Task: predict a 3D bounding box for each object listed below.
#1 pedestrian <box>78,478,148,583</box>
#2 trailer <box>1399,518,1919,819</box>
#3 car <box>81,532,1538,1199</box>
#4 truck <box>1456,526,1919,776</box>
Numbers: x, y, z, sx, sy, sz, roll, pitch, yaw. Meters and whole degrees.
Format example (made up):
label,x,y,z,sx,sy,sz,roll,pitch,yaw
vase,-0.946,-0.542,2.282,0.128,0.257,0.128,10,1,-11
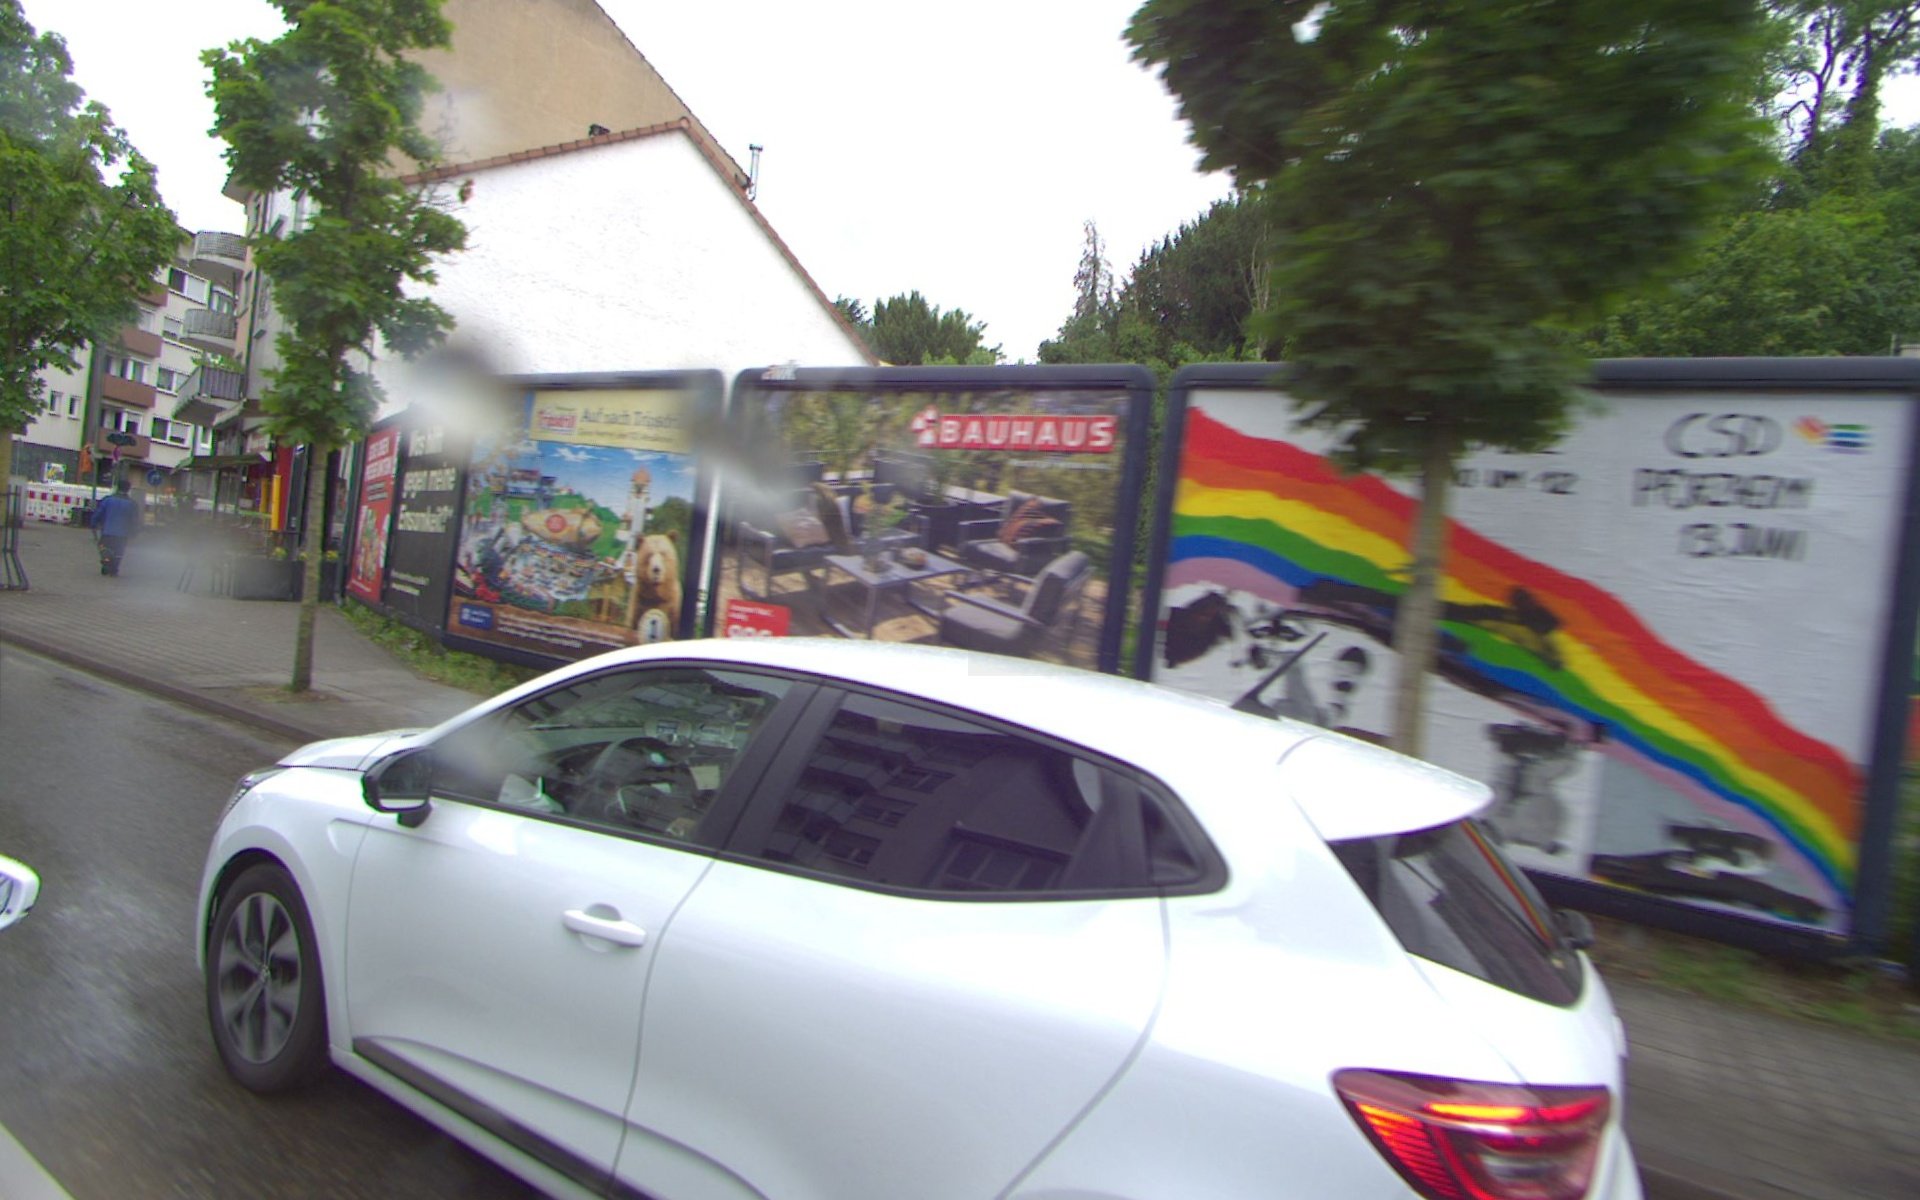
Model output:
label,x,y,z,sx,sy,sz,roll,pitch,yaw
pedestrian,-15.307,-1.248,18.180,0.860,1.778,0.789,8,2,44
trailer,8.576,0.646,12.339,5.303,2.753,2.126,8,3,33
car,-0.638,0.762,2.861,3.802,1.414,1.666,8,2,31
truck,12.487,0.709,16.939,6.820,3.258,2.630,7,2,35
